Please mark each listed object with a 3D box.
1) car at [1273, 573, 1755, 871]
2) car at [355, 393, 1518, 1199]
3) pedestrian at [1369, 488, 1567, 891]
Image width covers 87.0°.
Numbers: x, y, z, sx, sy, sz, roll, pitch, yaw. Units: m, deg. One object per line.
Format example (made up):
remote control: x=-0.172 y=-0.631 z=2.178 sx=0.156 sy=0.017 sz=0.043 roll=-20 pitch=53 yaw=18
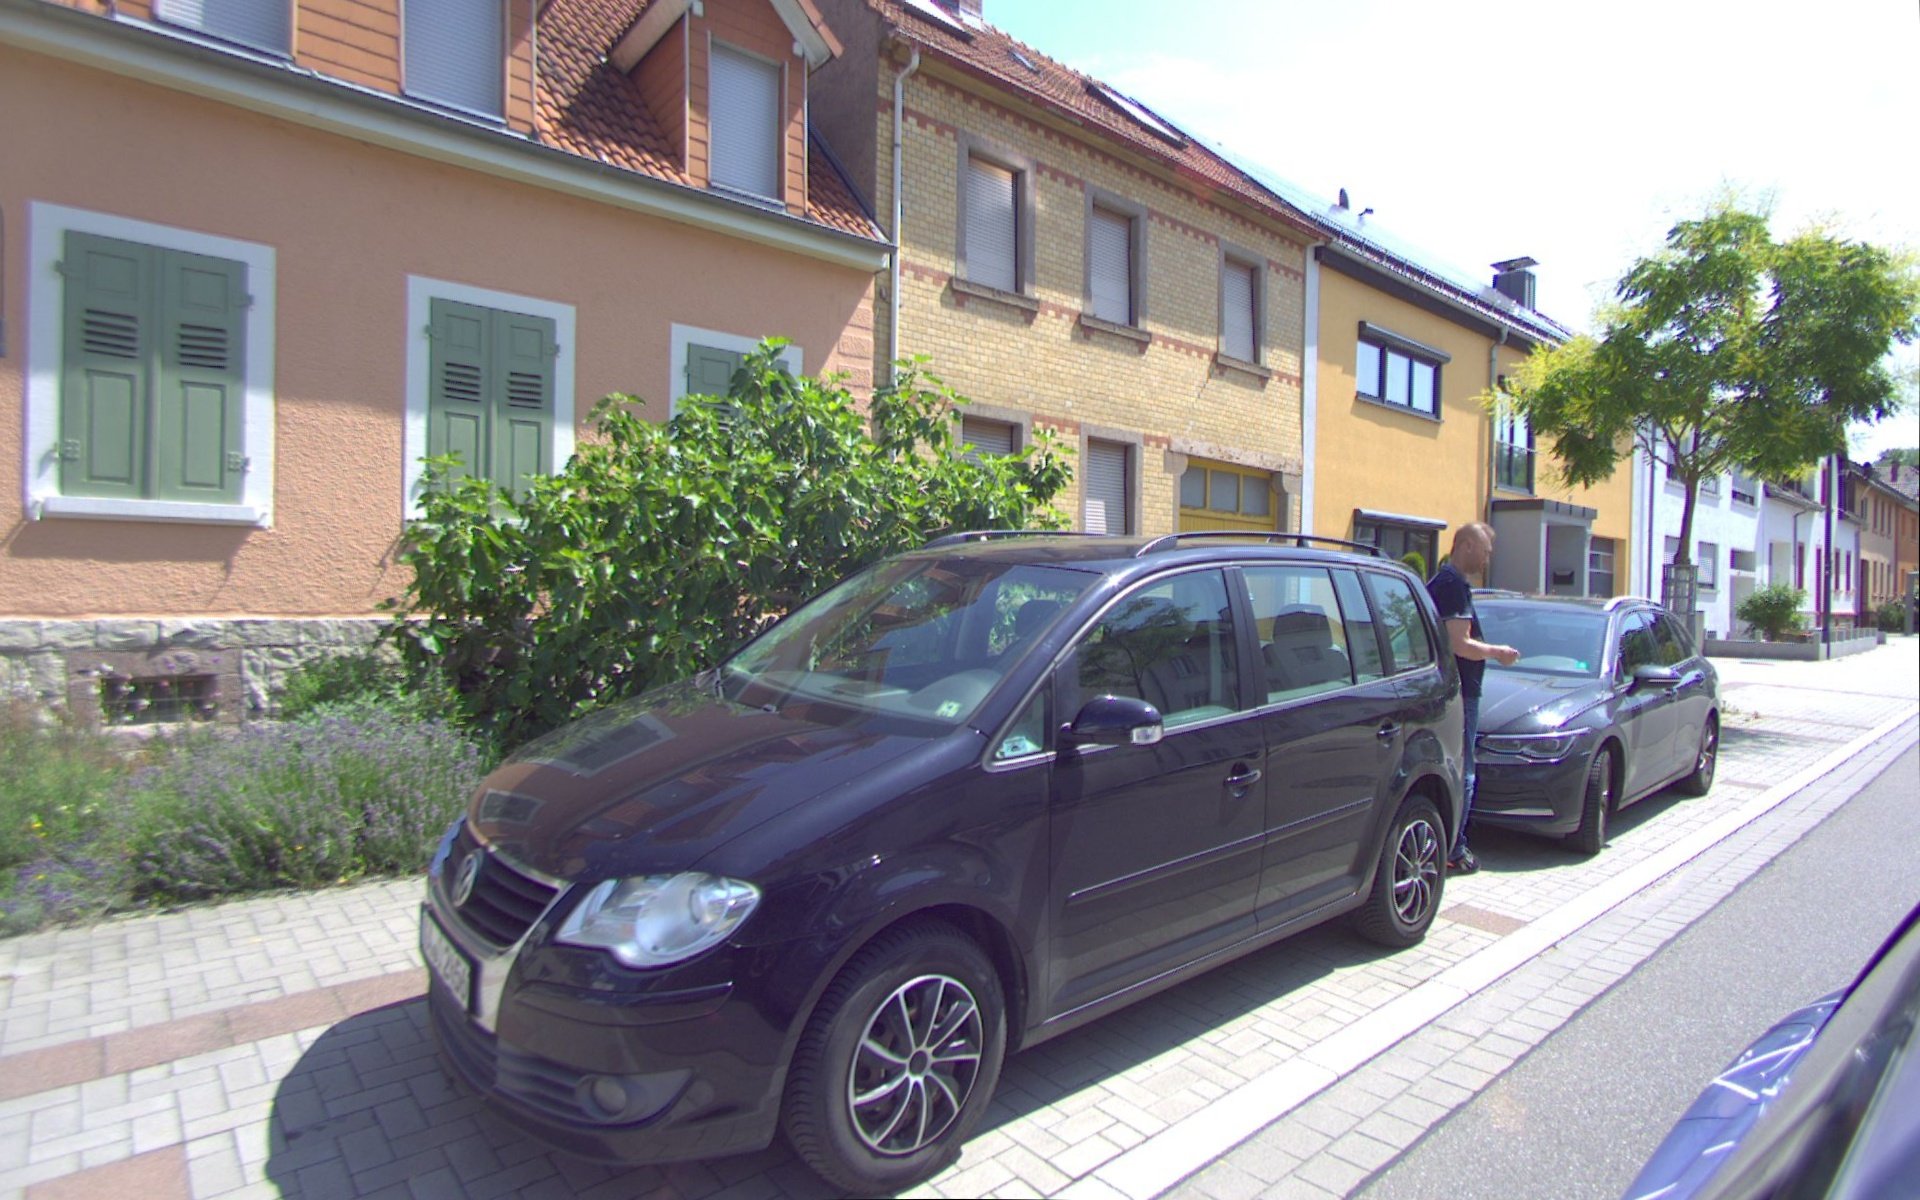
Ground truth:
car: x=4.136 y=0.595 z=7.217 sx=4.223 sy=1.507 sz=1.769 roll=0 pitch=1 yaw=-43
car: x=0.319 y=0.480 z=3.830 sx=4.249 sy=1.726 sz=1.770 roll=0 pitch=1 yaw=-41
pedestrian: x=2.586 y=0.411 z=5.168 sx=0.568 sy=1.876 sz=0.718 roll=0 pitch=1 yaw=-40
